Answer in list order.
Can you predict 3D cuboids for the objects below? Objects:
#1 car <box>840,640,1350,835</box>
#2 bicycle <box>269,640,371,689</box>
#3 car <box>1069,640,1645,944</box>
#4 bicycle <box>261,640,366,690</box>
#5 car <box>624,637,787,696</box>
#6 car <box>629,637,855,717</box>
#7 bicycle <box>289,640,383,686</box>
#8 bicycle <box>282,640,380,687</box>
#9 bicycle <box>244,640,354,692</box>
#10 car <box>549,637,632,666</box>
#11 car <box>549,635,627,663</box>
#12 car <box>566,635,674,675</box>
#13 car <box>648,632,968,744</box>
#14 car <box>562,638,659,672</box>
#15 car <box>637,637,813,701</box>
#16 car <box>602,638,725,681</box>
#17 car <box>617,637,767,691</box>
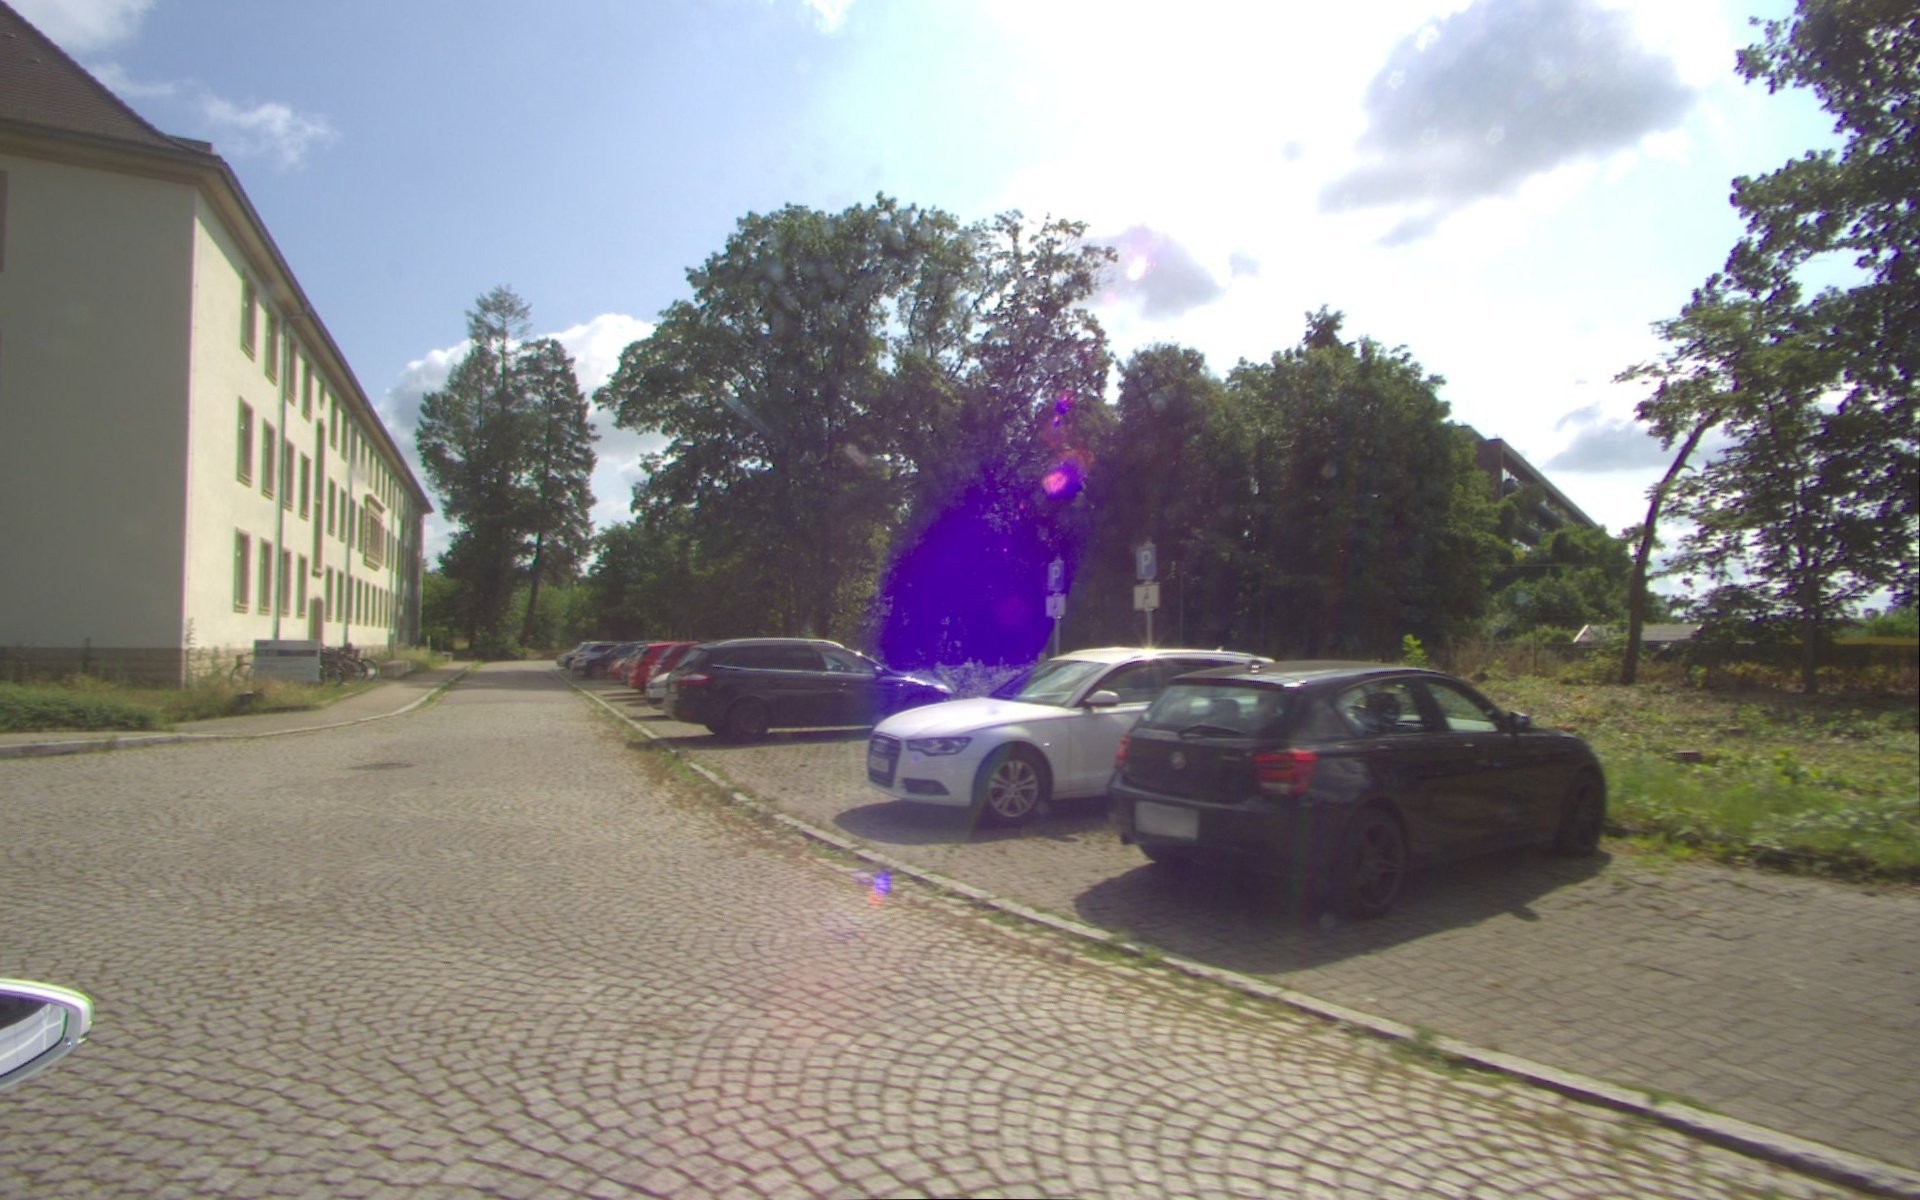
[{"bbox_3d":[1.393,1.173,9.897,4.803,1.491,1.867,1,-1,-27],"label":"car"},{"bbox_3d":[-17.202,1.740,26.977,2.191,1.276,0.622,1,-2,-19],"label":"bicycle"},{"bbox_3d":[2.996,1.081,7.212,4.283,1.519,1.818,1,-1,-35],"label":"car"},{"bbox_3d":[-16.839,1.692,26.124,2.193,1.276,0.621,2,-2,-23],"label":"bicycle"},{"bbox_3d":[-6.996,1.792,27.476,4.133,1.502,1.755,1,-2,-23],"label":"car"},{"bbox_3d":[-4.559,1.553,21.031,4.345,1.502,1.759,1,-2,-27],"label":"car"},{"bbox_3d":[-17.865,1.796,28.725,2.193,1.276,0.621,2,-2,-23],"label":"bicycle"},{"bbox_3d":[-17.430,1.761,27.819,2.193,1.276,0.621,2,-2,-23],"label":"bicycle"},{"bbox_3d":[-16.669,1.672,25.313,2.191,1.276,0.622,1,-2,-19],"label":"bicycle"},{"bbox_3d":[-20.031,2.785,54.237,4.133,1.502,1.815,1,-2,-23],"label":"car"},{"bbox_3d":[-21.172,2.760,56.975,4.133,1.502,1.815,1,-2,-23],"label":"car"},{"bbox_3d":[-14.136,2.269,41.648,4.133,1.562,1.815,1,-2,-23],"label":"car"},{"bbox_3d":[-2.422,1.328,16.192,4.794,1.572,1.873,1,-2,-27],"label":"car"},{"bbox_3d":[-16.239,2.532,46.525,4.133,1.502,1.815,1,-2,-23],"label":"car"},{"bbox_3d":[-6.022,1.723,25.628,4.153,1.502,1.815,1,-2,-23],"label":"car"},{"bbox_3d":[-10.998,2.177,37.176,4.211,1.502,1.815,1,-2,-23],"label":"car"},{"bbox_3d":[-8.023,1.869,29.947,4.133,1.502,1.815,1,-2,-23],"label":"car"}]
